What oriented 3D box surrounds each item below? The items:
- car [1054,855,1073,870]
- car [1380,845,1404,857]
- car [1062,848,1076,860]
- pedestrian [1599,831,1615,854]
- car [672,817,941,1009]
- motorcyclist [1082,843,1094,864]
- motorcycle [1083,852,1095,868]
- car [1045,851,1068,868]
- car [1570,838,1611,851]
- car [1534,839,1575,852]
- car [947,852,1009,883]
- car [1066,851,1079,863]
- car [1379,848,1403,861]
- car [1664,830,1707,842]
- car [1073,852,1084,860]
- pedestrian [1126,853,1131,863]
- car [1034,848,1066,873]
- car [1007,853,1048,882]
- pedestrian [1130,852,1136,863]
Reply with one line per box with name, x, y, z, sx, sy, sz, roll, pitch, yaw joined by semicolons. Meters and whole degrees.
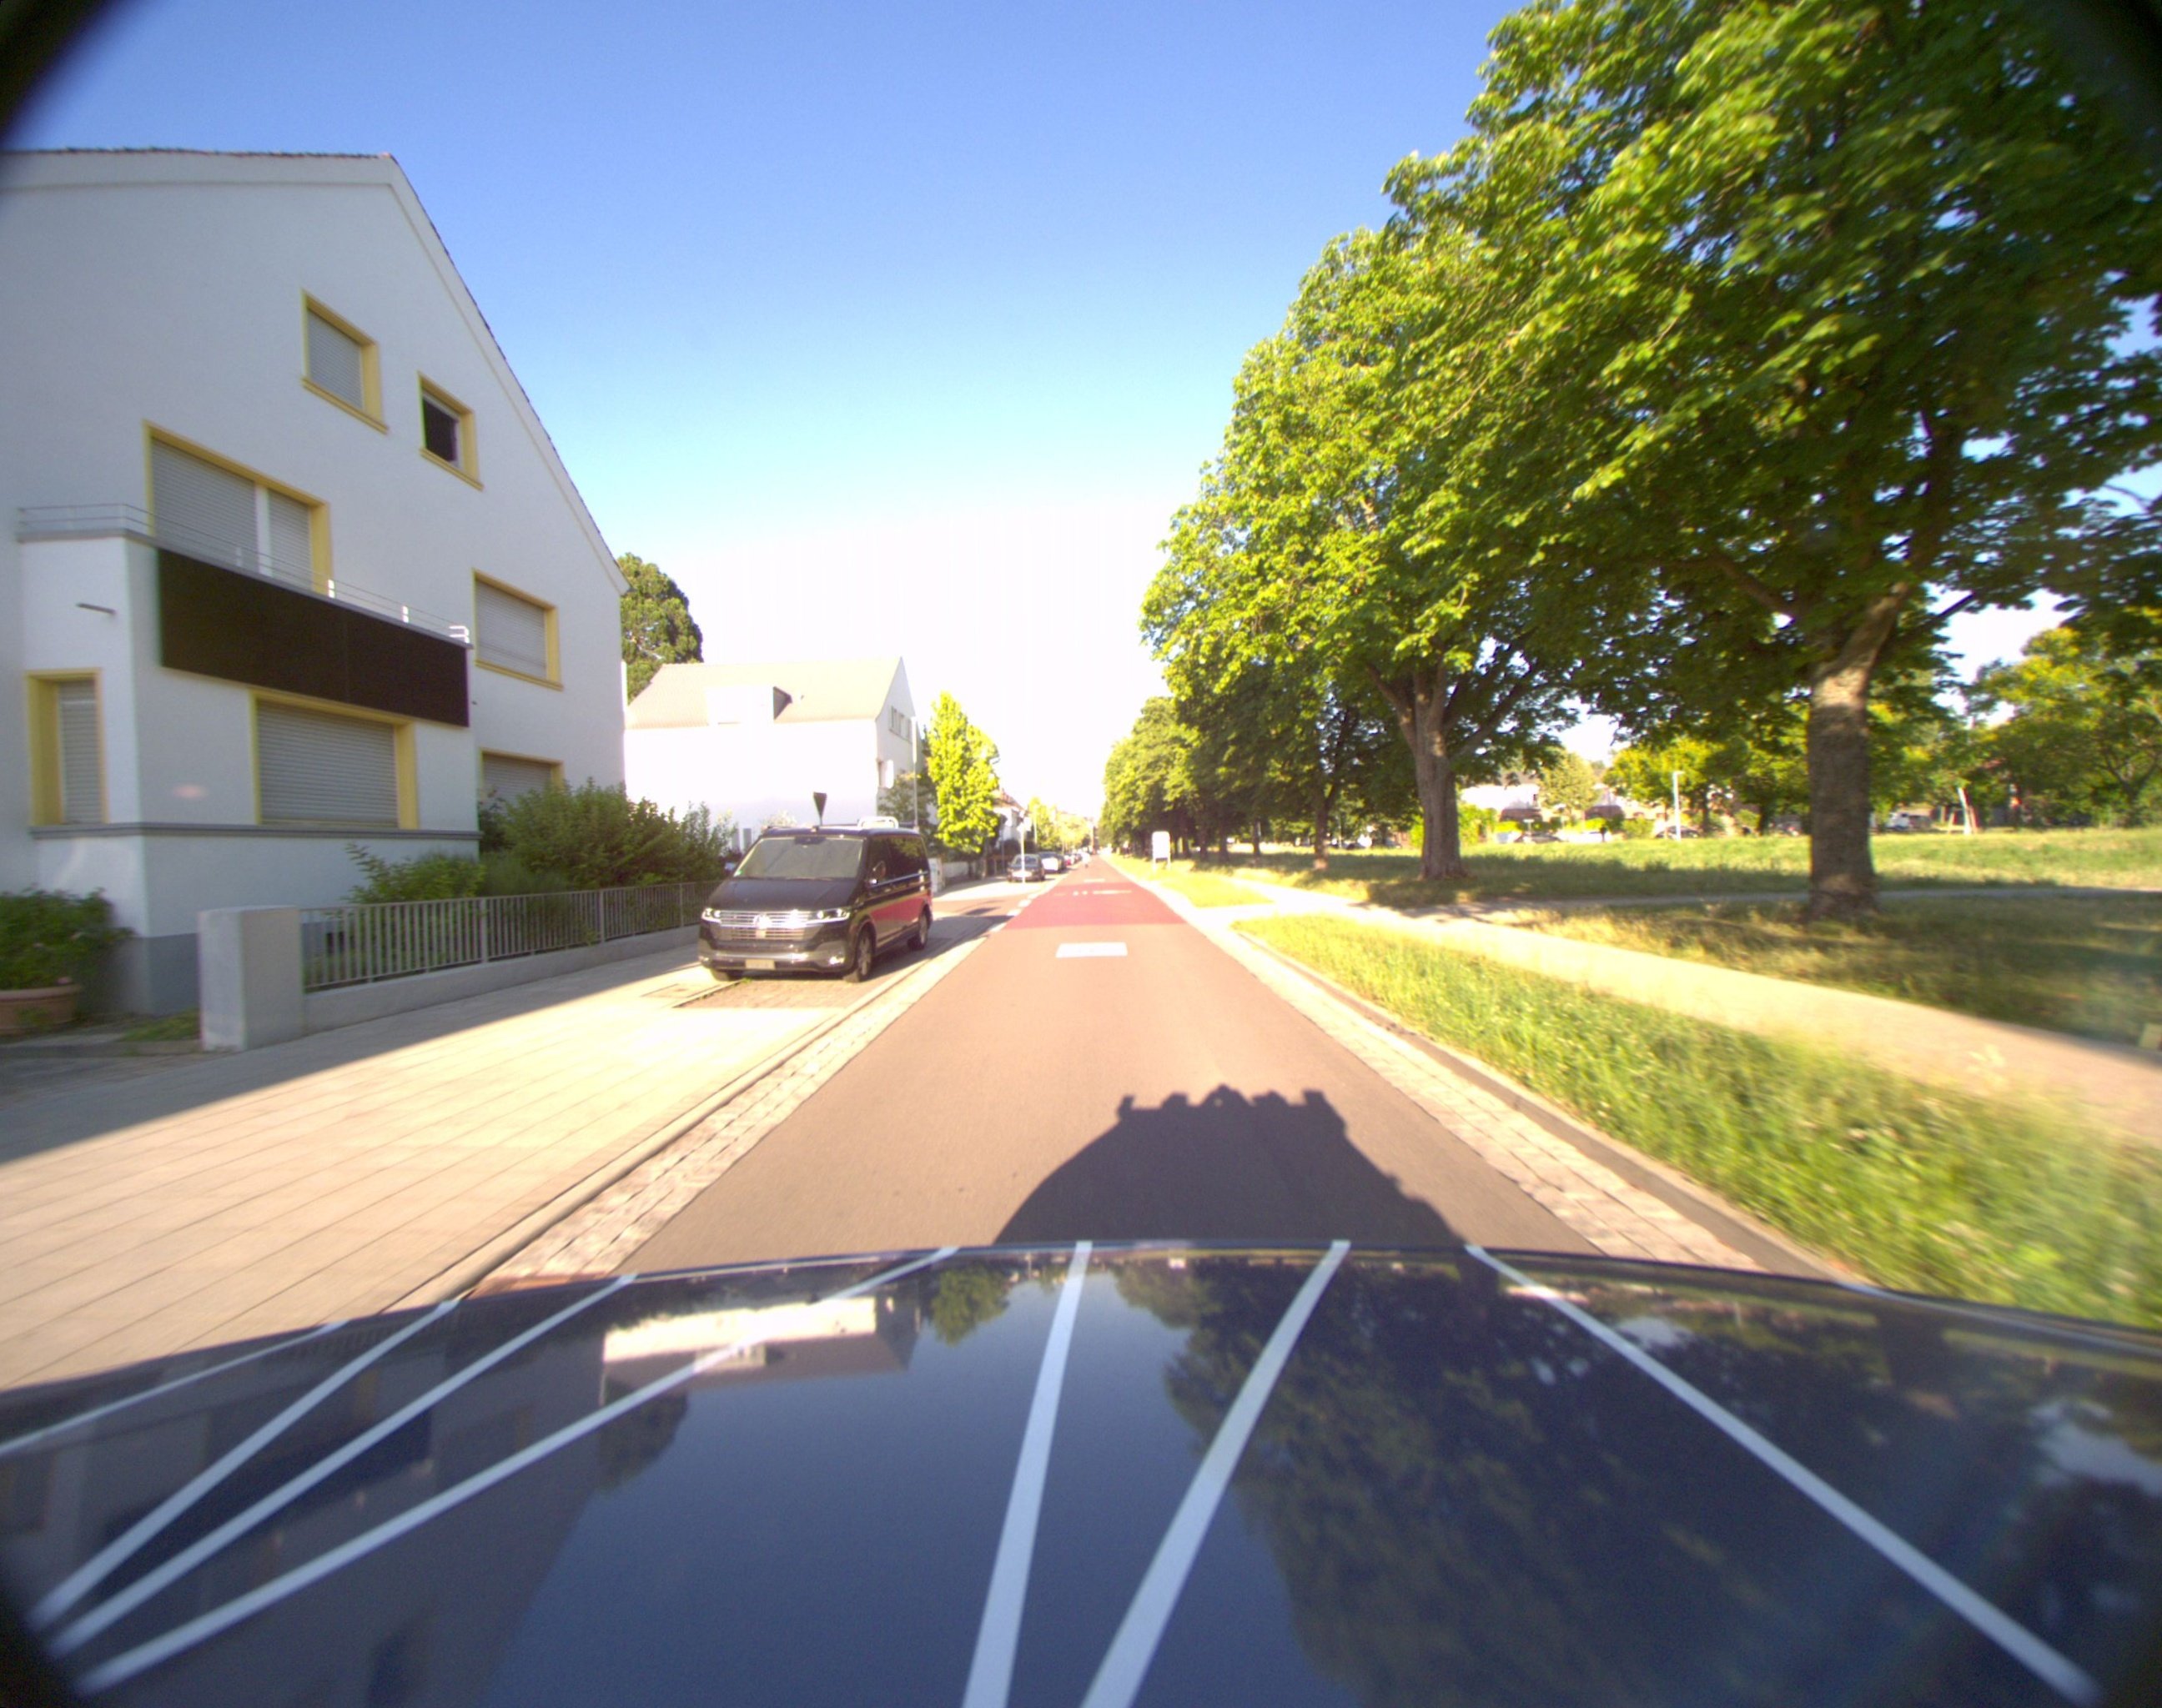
car;-1.953;0.970;87.455;1.910;1.698;4.576;0;0;3
car;44.375;-0.476;108.373;1.766;1.619;4.000;-3;0;1
car;-1.538;-0.034;98.515;1.508;1.471;3.492;-1;0;2
pedestrian;40.897;-0.881;59.053;0.778;1.714;0.715;-4;2;-27
car;-3.488;0.646;10.823;1.910;2.119;4.814;0;0;2
motorcyclist;0.677;-0.035;73.047;0.961;2.002;1.274;-4;1;0
motorcycle;0.757;0.562;73.215;1.077;1.373;2.463;-4;1;0
car;-2.151;0.478;68.061;1.798;1.485;4.194;0;0;1
car;58.714;-1.136;87.623;3.636;1.273;1.586;-3;1;3
car;54.484;-0.986;87.514;3.636;1.273;1.586;-3;1;3
car;-6.992;0.936;51.812;3.994;1.834;1.815;-4;-1;-4
car;-1.242;0.410;108.348;1.745;1.471;4.056;-3;0;0
car;39.651;0.074;97.273;1.585;1.473;3.639;-3;1;2
car;69.871;-2.078;87.906;3.636;1.273;1.586;-3;1;3
car;-0.503;0.434;144.637;1.844;1.471;3.764;-3;0;1
pedestrian;8.071;0.627;129.193;0.625;1.621;0.606;-3;2;27
car;-2.230;0.465;55.925;1.910;1.698;4.576;0;0;3
car;-2.823;0.711;40.966;1.798;1.474;4.124;0;-1;2
pedestrian;8.860;0.607;128.740;0.625;1.841;0.606;-2;2;40
